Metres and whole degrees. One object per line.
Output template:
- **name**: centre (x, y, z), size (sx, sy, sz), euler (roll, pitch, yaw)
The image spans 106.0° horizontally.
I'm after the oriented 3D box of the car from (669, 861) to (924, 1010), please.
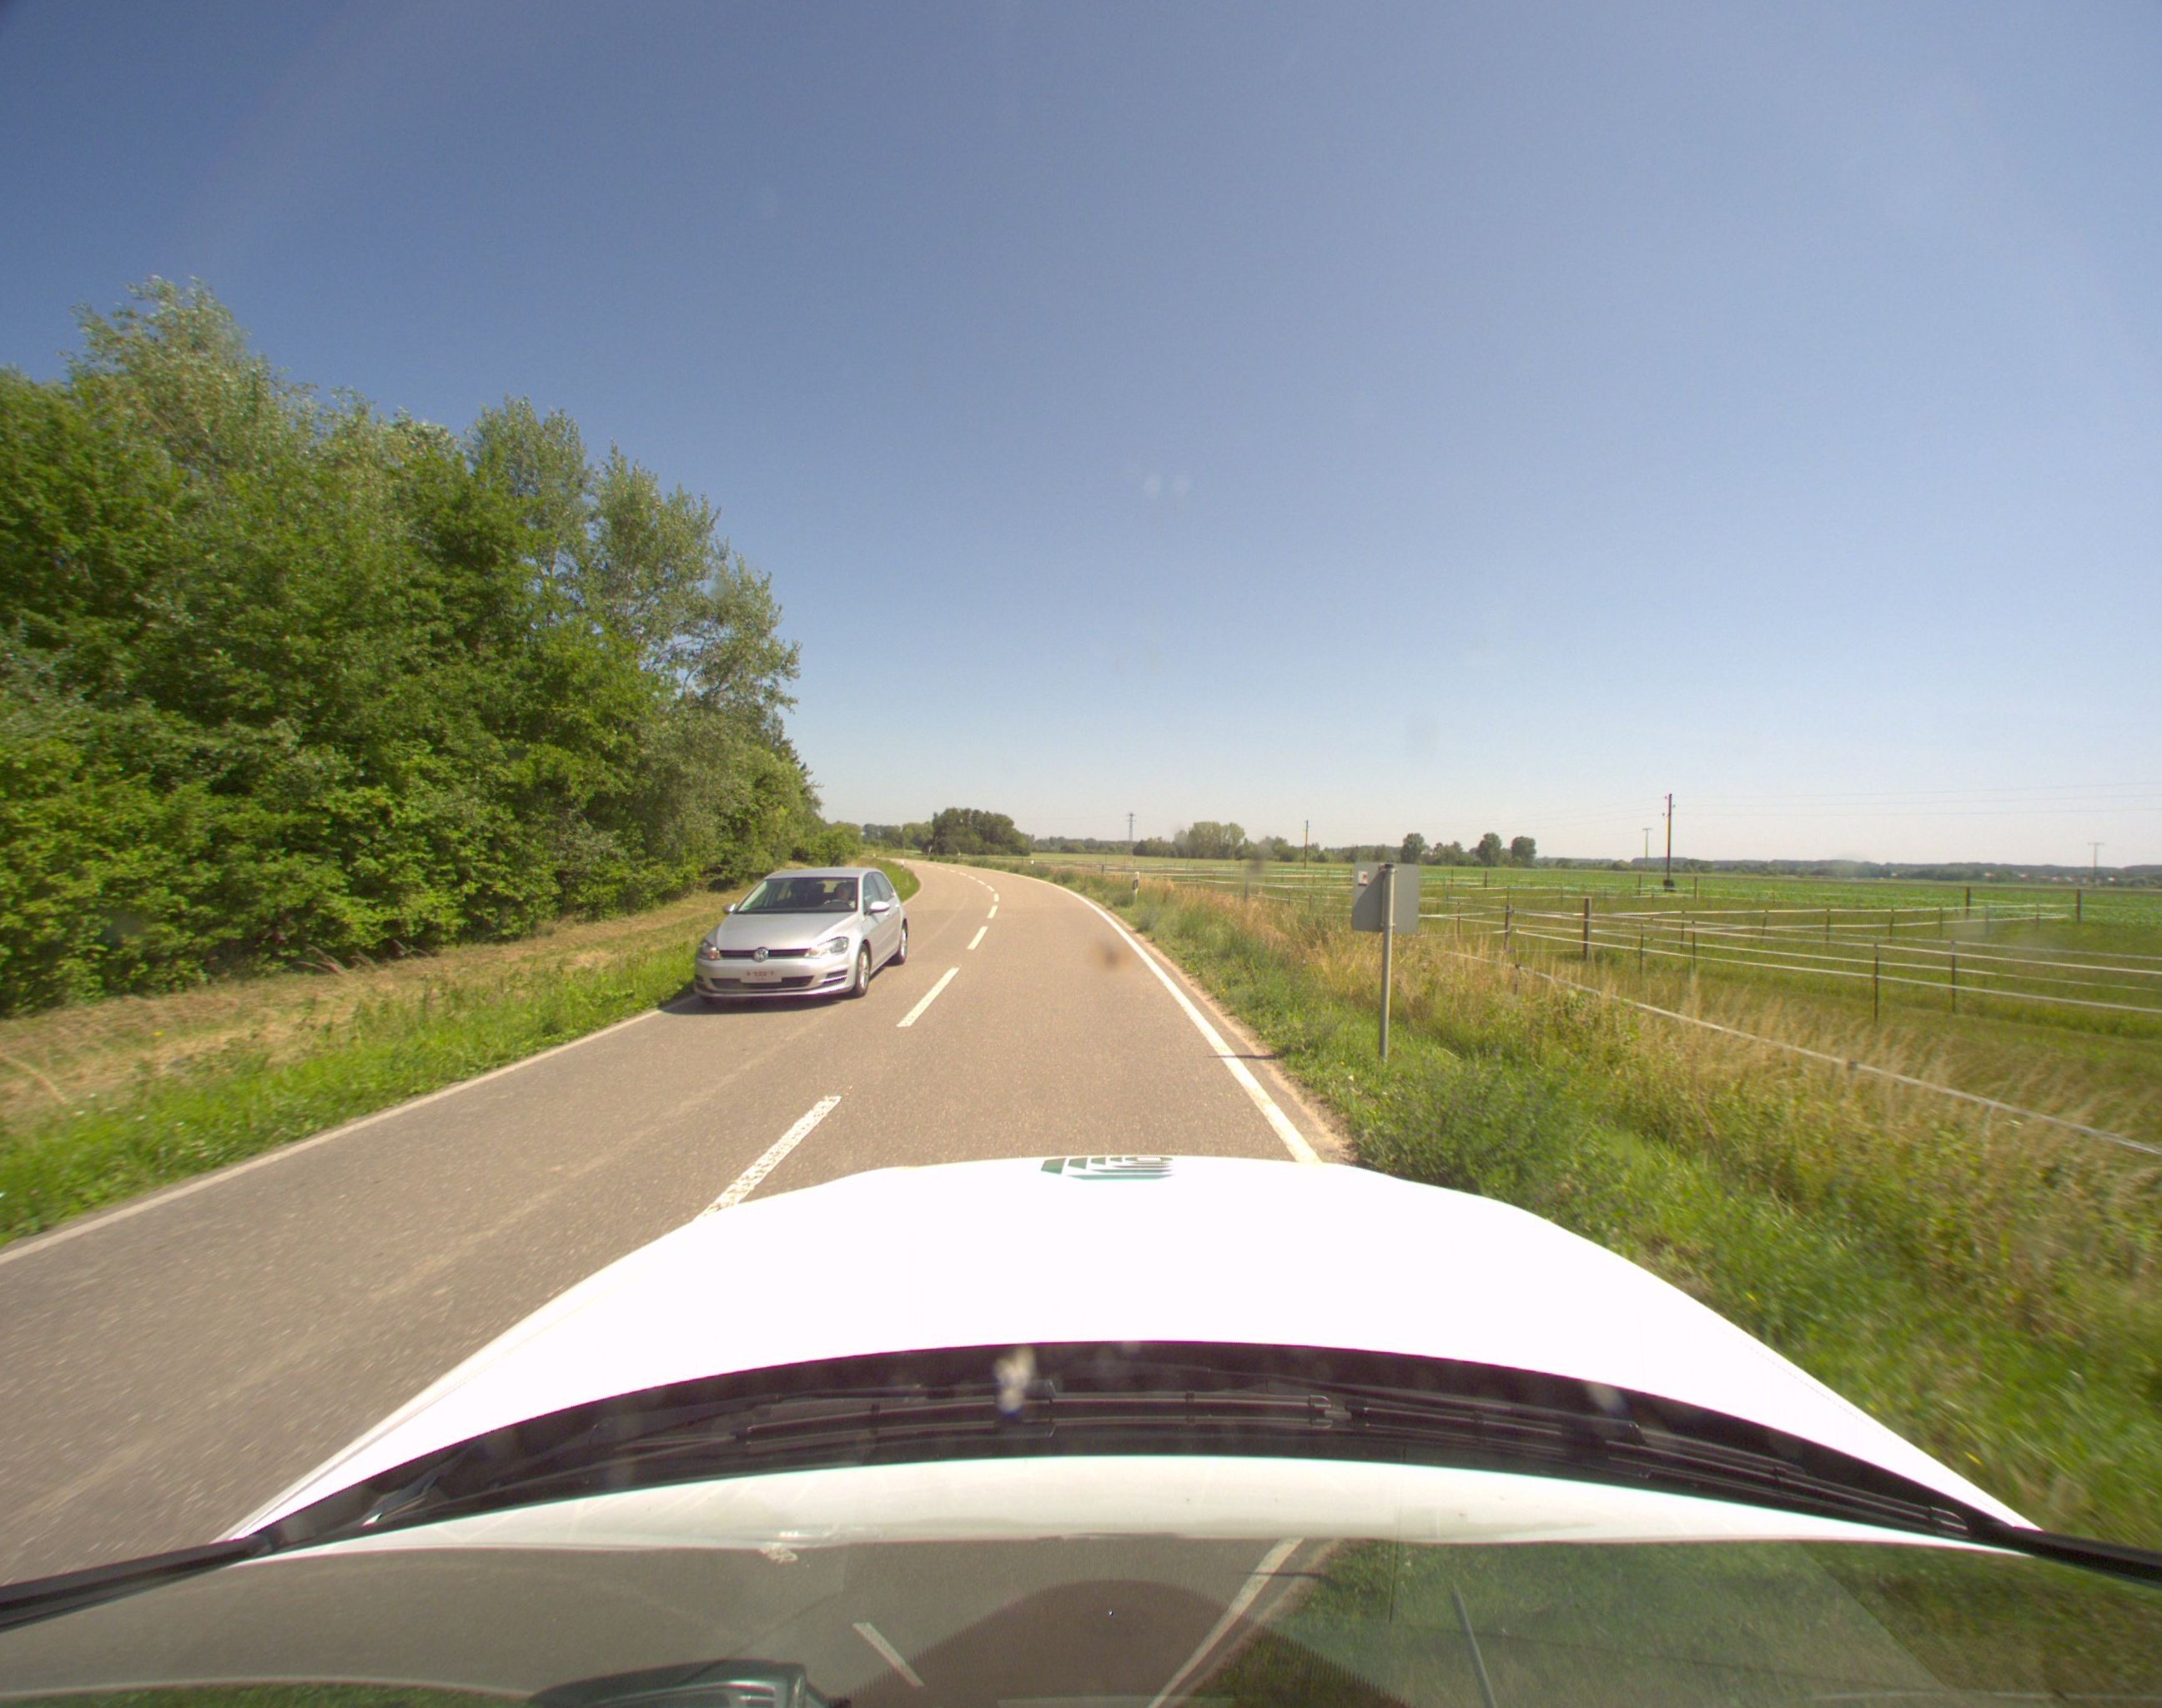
- **car**: centre (-3.319, 0.857, 10.415), size (1.778, 1.427, 4.059), euler (-2, 0, 0)
